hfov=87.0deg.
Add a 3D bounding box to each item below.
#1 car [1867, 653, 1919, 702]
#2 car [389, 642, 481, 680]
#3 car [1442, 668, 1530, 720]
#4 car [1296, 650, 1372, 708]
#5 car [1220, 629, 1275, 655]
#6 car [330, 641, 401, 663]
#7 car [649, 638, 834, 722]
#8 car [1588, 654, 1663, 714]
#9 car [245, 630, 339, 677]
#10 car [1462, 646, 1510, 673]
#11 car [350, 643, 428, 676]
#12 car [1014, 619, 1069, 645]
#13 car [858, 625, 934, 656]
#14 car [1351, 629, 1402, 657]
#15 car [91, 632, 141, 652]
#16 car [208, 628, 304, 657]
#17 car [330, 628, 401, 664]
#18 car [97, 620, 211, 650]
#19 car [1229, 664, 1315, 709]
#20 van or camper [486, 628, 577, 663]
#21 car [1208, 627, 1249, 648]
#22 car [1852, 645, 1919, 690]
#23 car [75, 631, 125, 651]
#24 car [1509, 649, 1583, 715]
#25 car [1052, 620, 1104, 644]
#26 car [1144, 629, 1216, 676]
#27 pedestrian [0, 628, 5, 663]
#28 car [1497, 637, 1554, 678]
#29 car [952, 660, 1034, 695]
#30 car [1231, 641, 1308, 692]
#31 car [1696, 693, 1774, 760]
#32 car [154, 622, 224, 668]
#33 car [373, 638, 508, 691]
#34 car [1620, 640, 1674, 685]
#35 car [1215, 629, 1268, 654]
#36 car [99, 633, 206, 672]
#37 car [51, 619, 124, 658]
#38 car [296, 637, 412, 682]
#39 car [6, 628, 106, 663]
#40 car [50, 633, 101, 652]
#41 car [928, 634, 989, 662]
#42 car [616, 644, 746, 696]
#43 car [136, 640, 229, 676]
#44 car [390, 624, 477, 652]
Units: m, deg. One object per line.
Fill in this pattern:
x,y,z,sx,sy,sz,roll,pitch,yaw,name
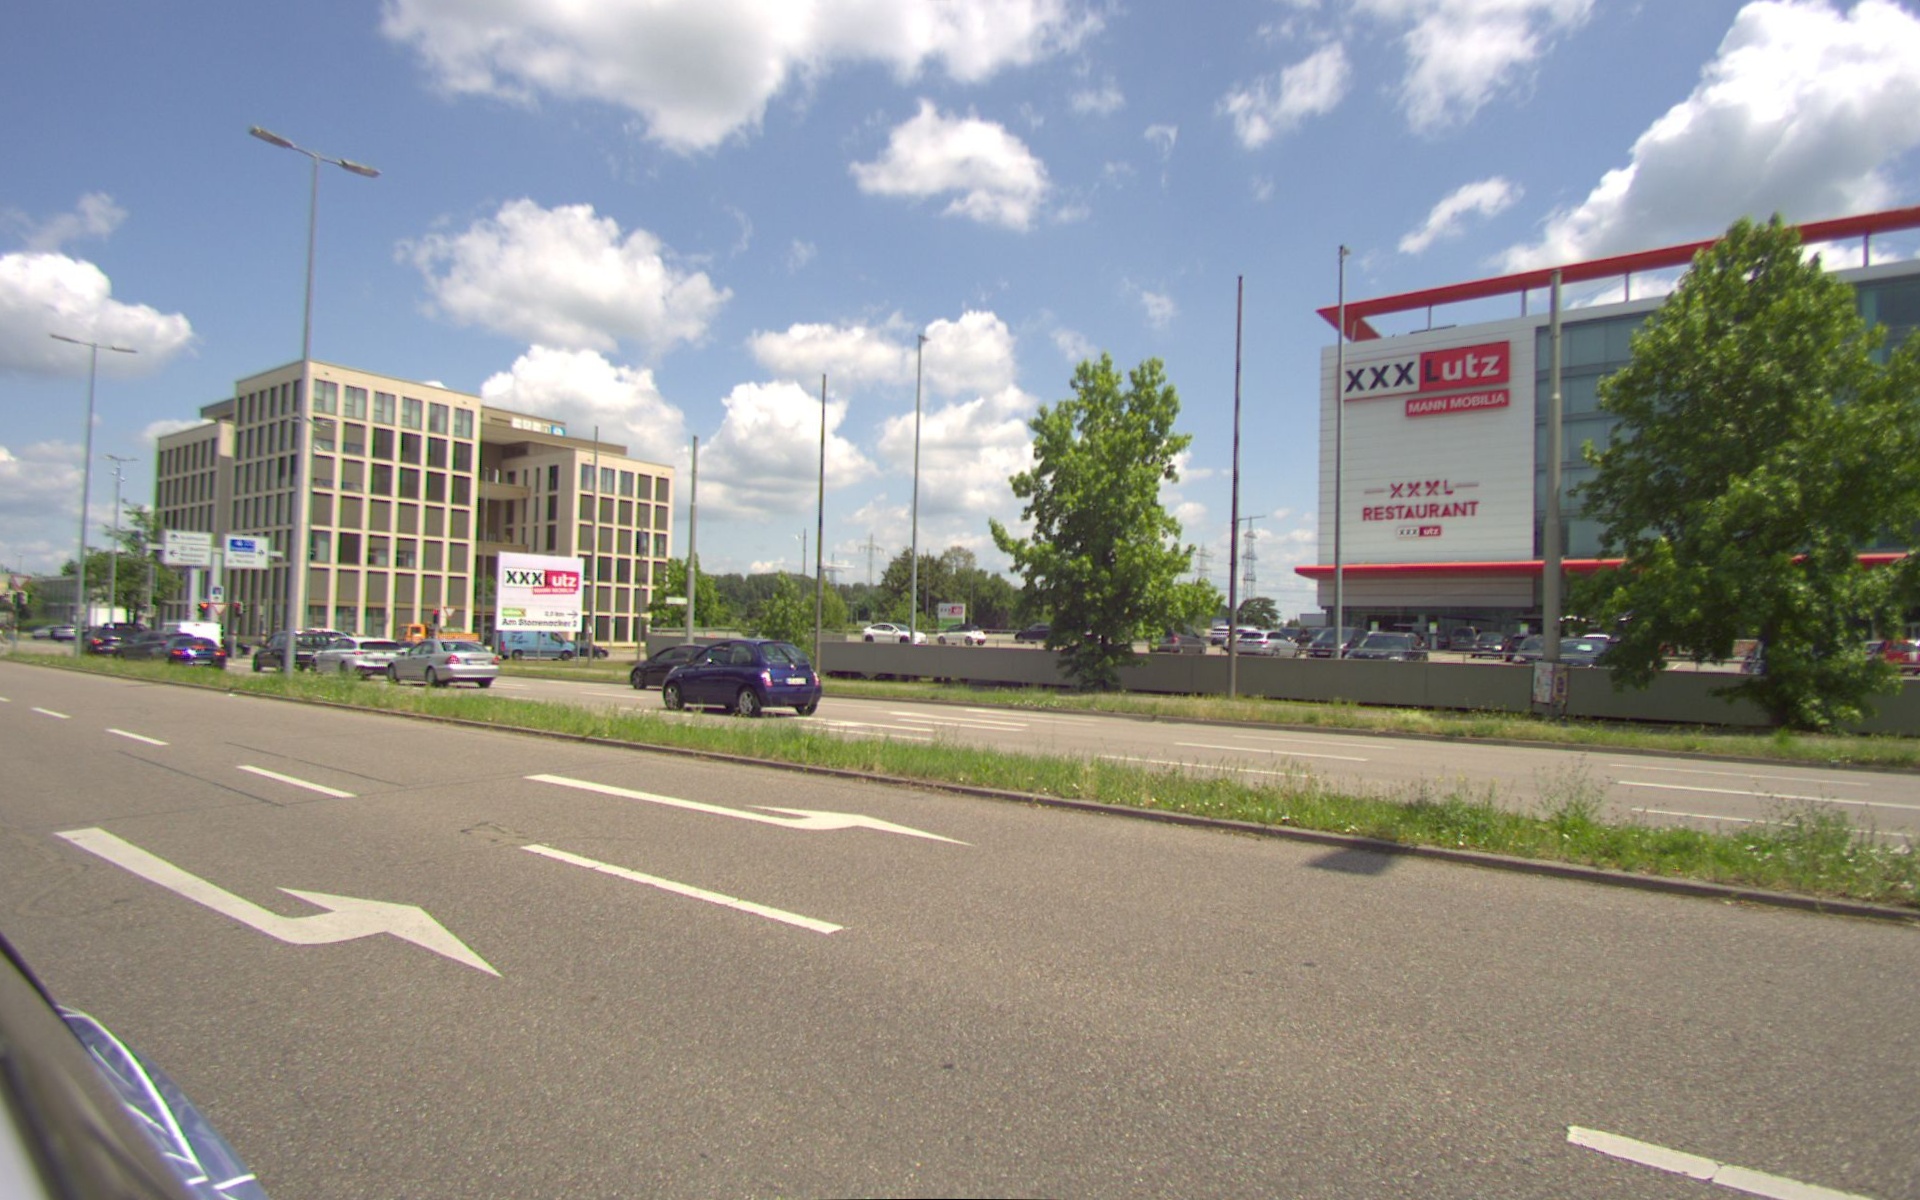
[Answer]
41.132,3.351,44.042,1.996,2.004,4.309,-1,-4,36,car
-21.578,2.504,41.530,4.352,1.484,1.604,-2,-5,38,car
17.886,3.141,34.362,1.844,1.608,3.946,-2,-4,40,car
16.175,3.362,43.662,1.996,2.347,4.309,-1,-4,36,car
17.583,2.554,61.826,1.854,1.481,3.782,-2,-4,39,car
-46.155,4.031,78.675,1.995,1.644,4.261,-1,-4,34,car
-4.500,1.573,20.654,3.671,1.486,1.722,0,-4,38,car
24.054,2.993,36.519,1.996,2.029,3.950,-2,-4,37,car
-25.706,2.065,38.901,4.223,1.714,1.773,-2,-5,40,car
29.967,3.389,57.601,1.679,1.481,3.783,-2,-4,39,car
-25.862,2.690,45.767,4.581,1.402,1.602,-3,-5,41,car
6.226,2.476,77.636,3.828,1.847,1.832,-2,-4,39,car
-4.043,2.566,63.568,4.666,1.847,1.833,-2,-4,37,car
23.457,2.452,56.961,1.679,1.481,3.783,-2,-4,39,car
-76.971,3.831,92.343,1.832,1.741,4.193,2,-3,-15,car
-45.027,2.737,64.832,1.859,1.741,4.698,0,-2,36,car
-29.291,2.276,49.824,3.867,1.714,1.773,-2,-5,40,car
-46.184,1.982,58.070,1.996,1.591,4.764,0,-1,36,car
12.138,3.332,39.230,1.848,1.608,3.946,-2,-4,40,car
-31.327,3.363,74.111,2.001,2.399,5.764,-2,-5,45,van or camper
20.786,2.908,78.291,1.853,1.556,3.785,-2,-4,37,car
44.074,3.205,48.133,1.996,2.004,4.309,-2,-4,36,car
-80.202,3.850,94.461,1.832,1.741,4.193,2,-3,-15,car
22.355,3.064,38.531,1.996,2.347,4.309,-1,-4,36,car
9.465,2.597,81.247,3.826,1.847,1.833,-2,-4,37,car
11.591,2.762,53.184,1.998,2.347,4.305,-1,-4,39,car
-45.695,2.133,47.530,0.966,1.665,0.833,0,-3,23,pedestrian
29.122,2.946,52.061,1.996,2.004,4.309,-1,-4,36,car
1.617,3.707,48.570,1.917,1.608,3.946,-2,-4,40,car
15.222,3.246,49.640,2.000,2.347,4.301,-2,-4,42,car
26.716,4.295,34.960,1.996,2.029,3.950,-2,-4,37,car
-36.214,2.140,47.534,3.574,2.059,1.838,-3,-5,41,car
-15.393,1.884,29.874,4.669,1.429,1.774,-2,-5,39,car
33.086,2.998,48.700,1.996,2.004,4.309,-1,-4,36,car
18.578,2.754,66.755,1.856,1.481,3.779,-2,-5,43,car
-33.860,2.187,42.447,3.742,1.572,1.785,-1,-4,21,car
-38.591,1.733,44.739,4.168,1.657,1.773,-3,-5,41,car
-20.487,2.014,34.155,4.840,1.413,1.774,-2,-5,39,car
-48.750,2.439,54.608,1.670,1.741,3.714,1,-1,36,car
-82.706,3.967,94.707,1.832,1.741,4.193,2,-3,-15,car
-0.116,3.310,69.890,3.824,1.847,1.834,-1,-4,35,car
-8.574,2.121,30.986,4.107,1.481,1.605,-2,-4,35,car
-28.823,2.143,37.477,4.303,1.261,1.773,-2,-5,40,car
-48.508,3.538,93.390,2.850,2.347,6.450,-4,-6,38,car
